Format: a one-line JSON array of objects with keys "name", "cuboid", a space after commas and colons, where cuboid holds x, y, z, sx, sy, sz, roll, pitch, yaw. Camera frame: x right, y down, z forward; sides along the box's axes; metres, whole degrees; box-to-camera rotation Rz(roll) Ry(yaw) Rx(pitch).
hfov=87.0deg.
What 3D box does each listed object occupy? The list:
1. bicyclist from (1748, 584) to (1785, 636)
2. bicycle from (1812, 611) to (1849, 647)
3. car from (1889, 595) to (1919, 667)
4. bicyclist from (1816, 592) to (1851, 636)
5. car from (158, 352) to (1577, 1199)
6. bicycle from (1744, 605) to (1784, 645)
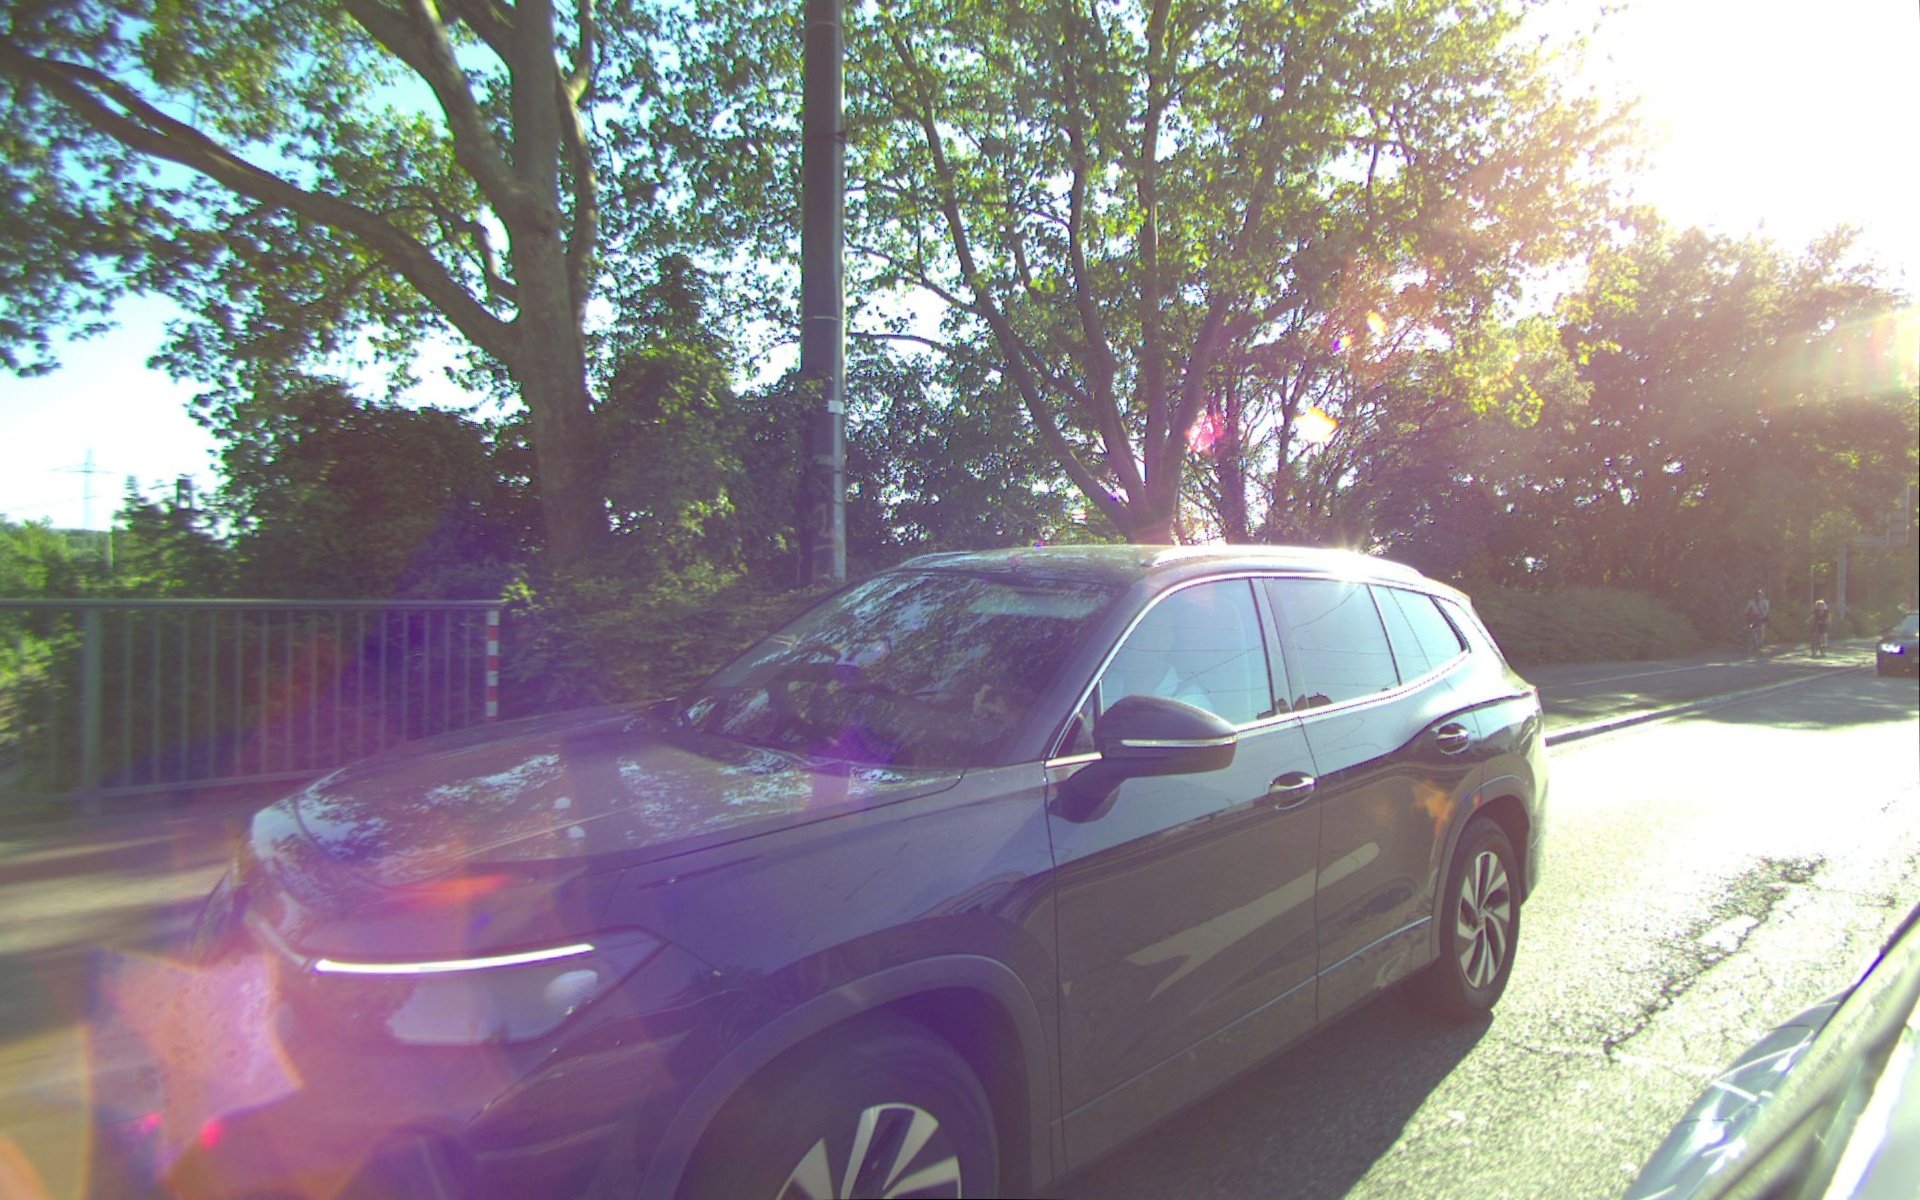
[{"name": "bicyclist", "cuboid": [24.151, 0.293, 30.312, 0.875, 1.527, 0.687, 1, 1, -41]}, {"name": "bicycle", "cuboid": [25.015, 0.821, 29.070, 1.757, 0.986, 0.566, 0, 1, -42]}, {"name": "car", "cuboid": [21.979, 0.646, 22.221, 4.506, 1.486, 1.869, 0, 0, -41]}, {"name": "bicyclist", "cuboid": [25.284, 0.403, 29.289, 0.875, 1.241, 0.642, 1, 0, -41]}, {"name": "car", "cuboid": [0.236, 0.542, 3.289, 4.363, 1.682, 1.847, 0, 1, -42]}, {"name": "bicycle", "cuboid": [24.038, 0.720, 30.237, 1.781, 1.134, 0.623, 0, 1, -42]}]
